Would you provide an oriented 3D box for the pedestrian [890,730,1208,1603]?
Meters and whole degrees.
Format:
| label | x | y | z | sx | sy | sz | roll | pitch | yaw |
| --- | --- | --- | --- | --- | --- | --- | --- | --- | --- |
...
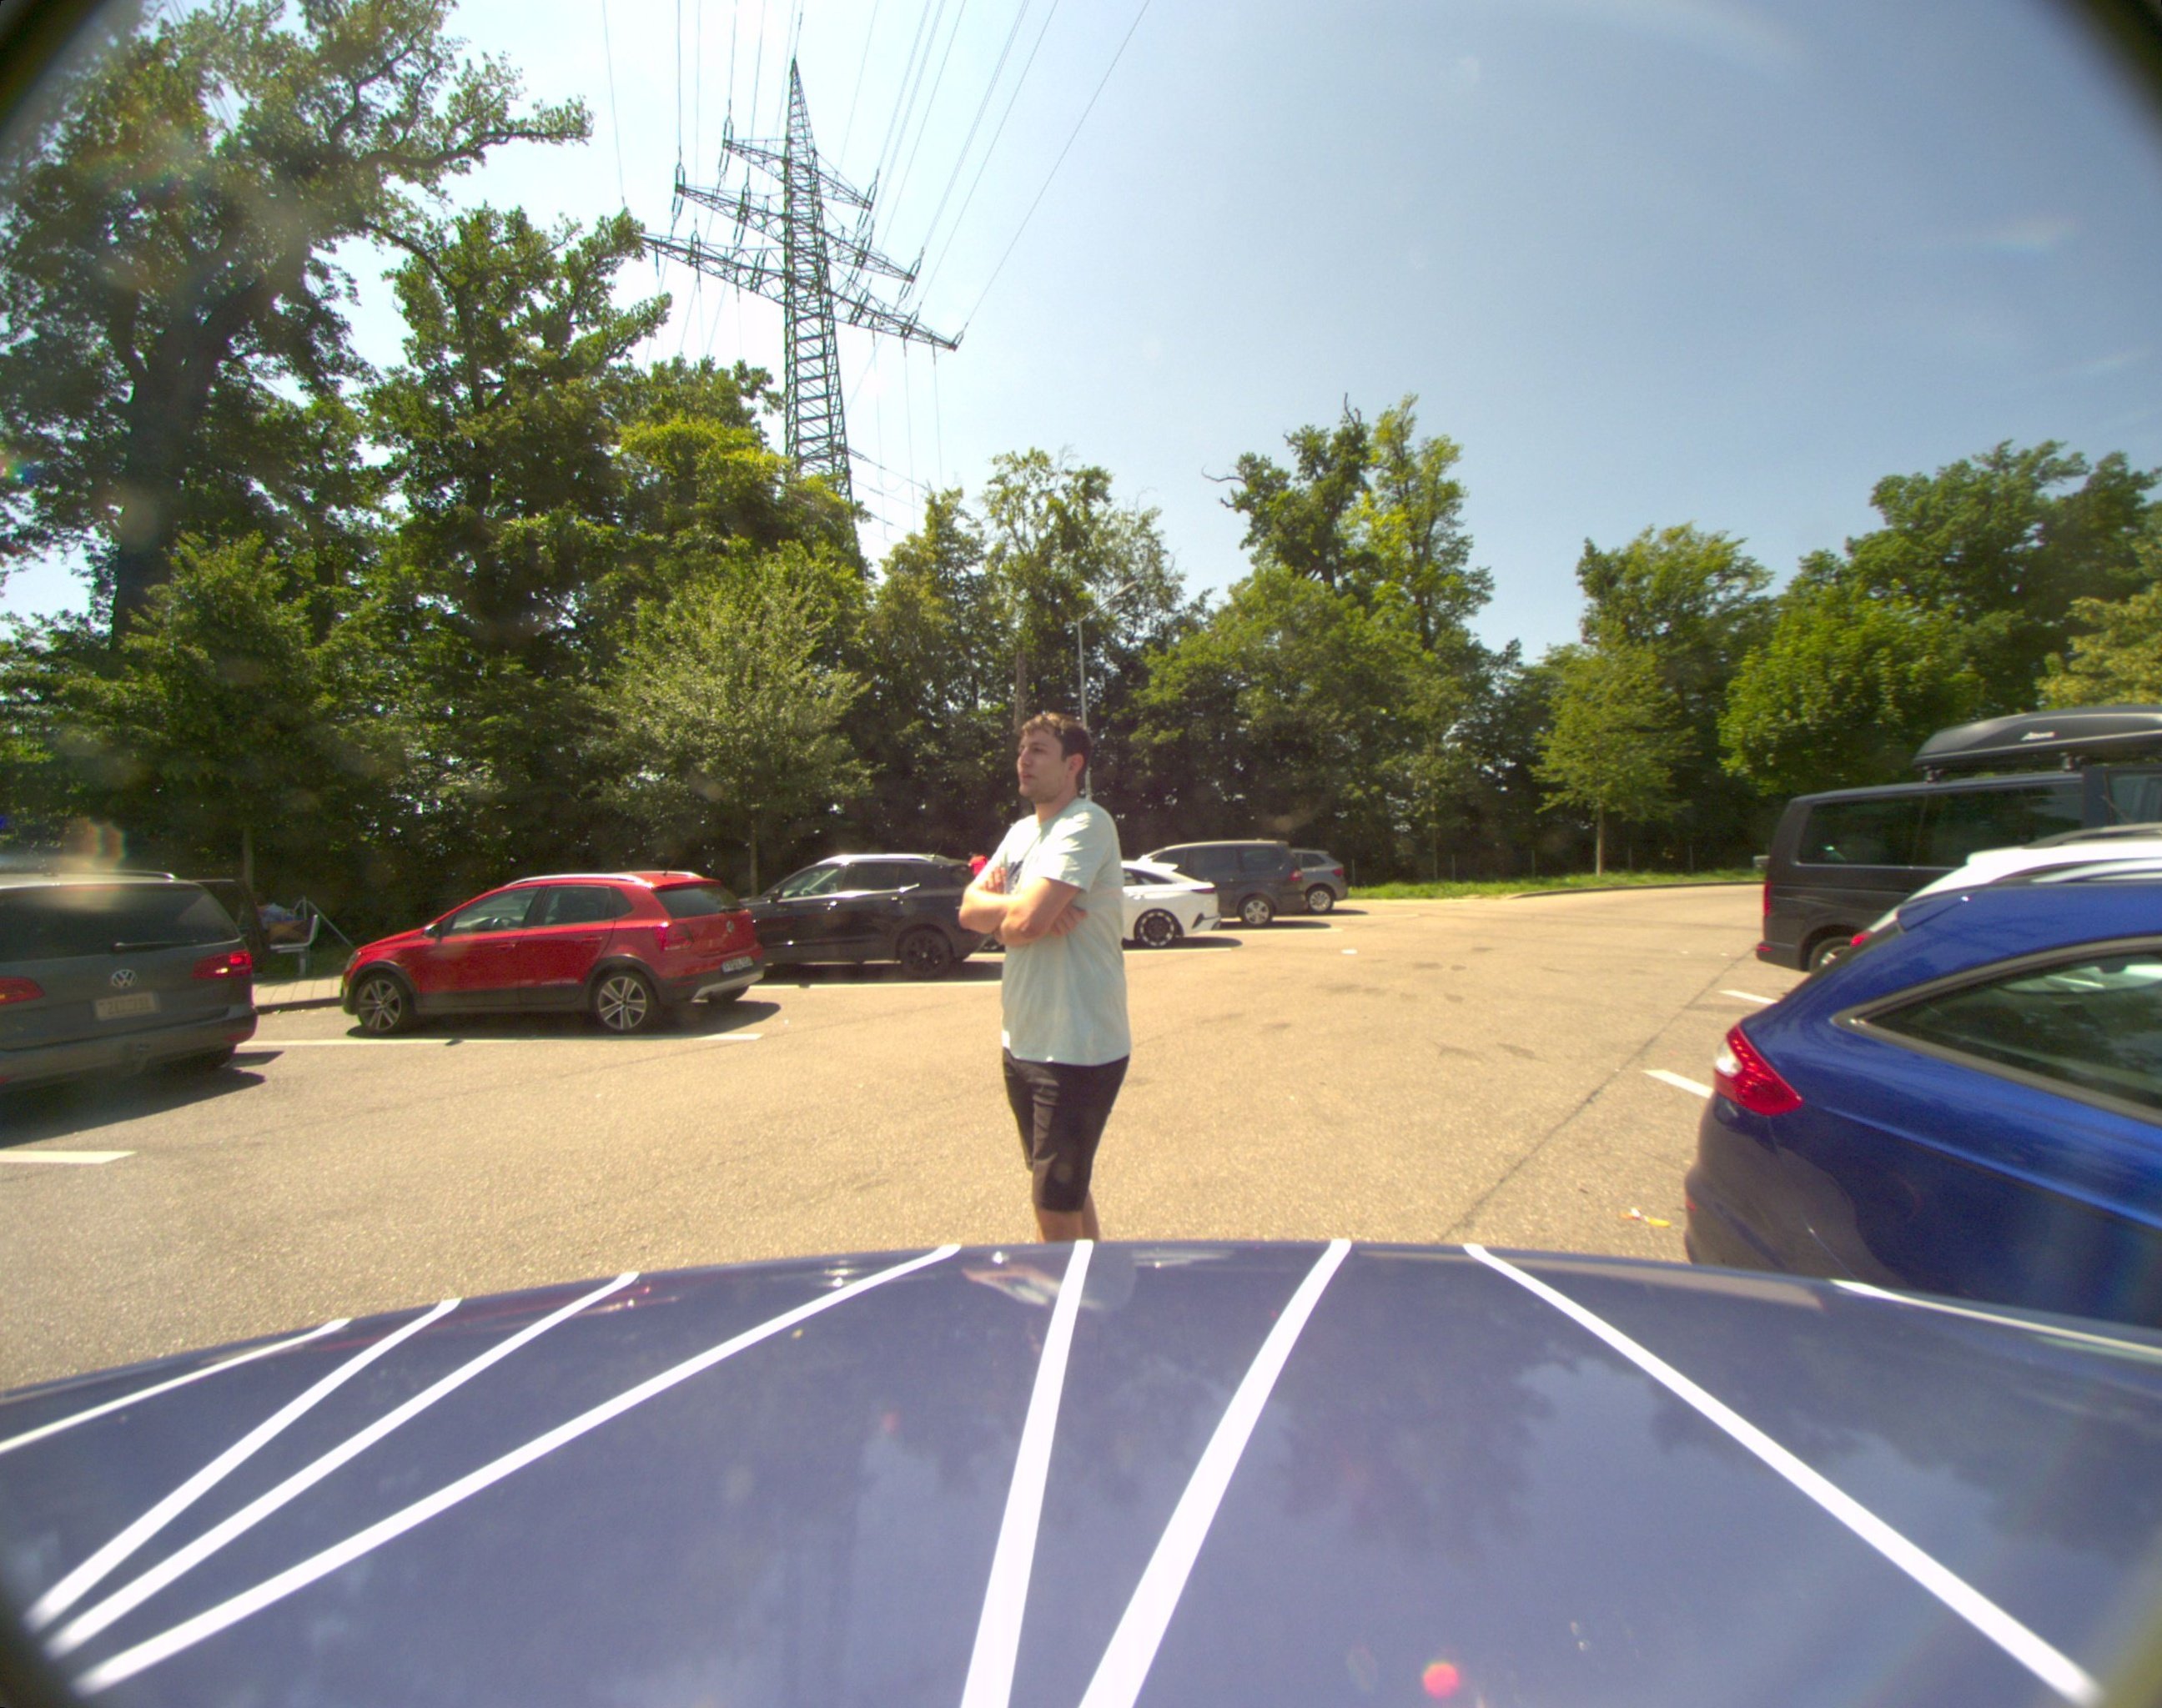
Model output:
| label | x | y | z | sx | sy | sz | roll | pitch | yaw |
| --- | --- | --- | --- | --- | --- | --- | --- | --- | --- |
| pedestrian | -0.143 | 0.663 | 2.067 | 0.634 | 1.857 | 0.747 | -2 | 0 | -17 |

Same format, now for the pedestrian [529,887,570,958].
| label | x | y | z | sx | sy | sz | roll | pitch | yaw |
| --- | --- | --- | --- | --- | --- | --- | --- | --- | --- |
| pedestrian | -10.170 | 1.298 | 14.532 | 0.490 | 1.291 | 0.506 | -2 | 0 | 41 |

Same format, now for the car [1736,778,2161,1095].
| label | x | y | z | sx | sy | sz | roll | pitch | yaw |
| --- | --- | --- | --- | --- | --- | --- | --- | --- | --- |
| car | 7.304 | 0.454 | 5.020 | 2.048 | 1.850 | 4.430 | -2 | -1 | -1 |

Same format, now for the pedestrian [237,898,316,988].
| label | x | y | z | sx | sy | sz | roll | pitch | yaw |
| --- | --- | --- | --- | --- | --- | --- | --- | --- | --- |
| pedestrian | -11.757 | 1.286 | 11.104 | 0.680 | 1.211 | 0.675 | -4 | -2 | 36 |

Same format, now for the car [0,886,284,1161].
| label | x | y | z | sx | sy | sz | roll | pitch | yaw |
| --- | --- | --- | --- | --- | --- | --- | --- | --- | --- |
| car | -8.347 | 1.094 | 5.437 | 3.950 | 1.581 | 1.753 | -1 | 1 | 11 |

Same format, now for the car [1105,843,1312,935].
| label | x | y | z | sx | sy | sz | roll | pitch | yaw |
| --- | --- | --- | --- | --- | --- | --- | --- | --- | --- |
| car | 2.508 | 0.679 | 15.487 | 3.882 | 1.680 | 1.882 | -1 | 0 | 5 |

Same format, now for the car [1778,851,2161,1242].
| label | x | y | z | sx | sy | sz | roll | pitch | yaw |
| --- | --- | --- | --- | --- | --- | --- | --- | --- | --- |
| car | 4.776 | 0.700 | 2.424 | 1.607 | 1.405 | 3.743 | -2 | -1 | -1 |

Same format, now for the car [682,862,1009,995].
| label | x | y | z | sx | sy | sz | roll | pitch | yaw |
| --- | --- | --- | --- | --- | --- | --- | --- | --- | --- |
| car | -3.009 | 0.937 | 10.288 | 3.806 | 1.538 | 1.759 | -1 | 1 | 2 |

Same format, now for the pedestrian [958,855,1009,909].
| label | x | y | z | sx | sy | sz | roll | pitch | yaw |
| --- | --- | --- | --- | --- | --- | --- | --- | --- | --- |
| pedestrian | -2.409 | 0.699 | 18.881 | 0.890 | 1.292 | 0.865 | -2 | 0 | 23 |

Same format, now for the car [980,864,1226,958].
| label | x | y | z | sx | sy | sz | roll | pitch | yaw |
| --- | --- | --- | --- | --- | --- | --- | --- | --- | --- |
| car | 0.405 | 0.906 | 12.737 | 3.805 | 1.359 | 1.803 | -1 | 1 | 5 |

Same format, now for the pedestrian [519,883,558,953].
| label | x | y | z | sx | sy | sz | roll | pitch | yaw |
| --- | --- | --- | --- | --- | --- | --- | --- | --- | --- |
| pedestrian | -10.955 | 1.281 | 15.338 | 0.490 | 1.367 | 0.506 | -2 | 0 | 41 |

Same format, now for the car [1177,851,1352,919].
| label | x | y | z | sx | sy | sz | roll | pitch | yaw |
| --- | --- | --- | --- | --- | --- | --- | --- | --- | --- |
| car | 4.255 | 0.706 | 18.112 | 3.805 | 1.468 | 1.743 | -1 | 1 | 5 |

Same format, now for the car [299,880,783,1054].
| label | x | y | z | sx | sy | sz | roll | pitch | yaw |
| --- | --- | --- | --- | --- | --- | --- | --- | --- | --- |
| car | -5.246 | 1.064 | 7.645 | 3.804 | 1.449 | 1.637 | -1 | 1 | 7 |
